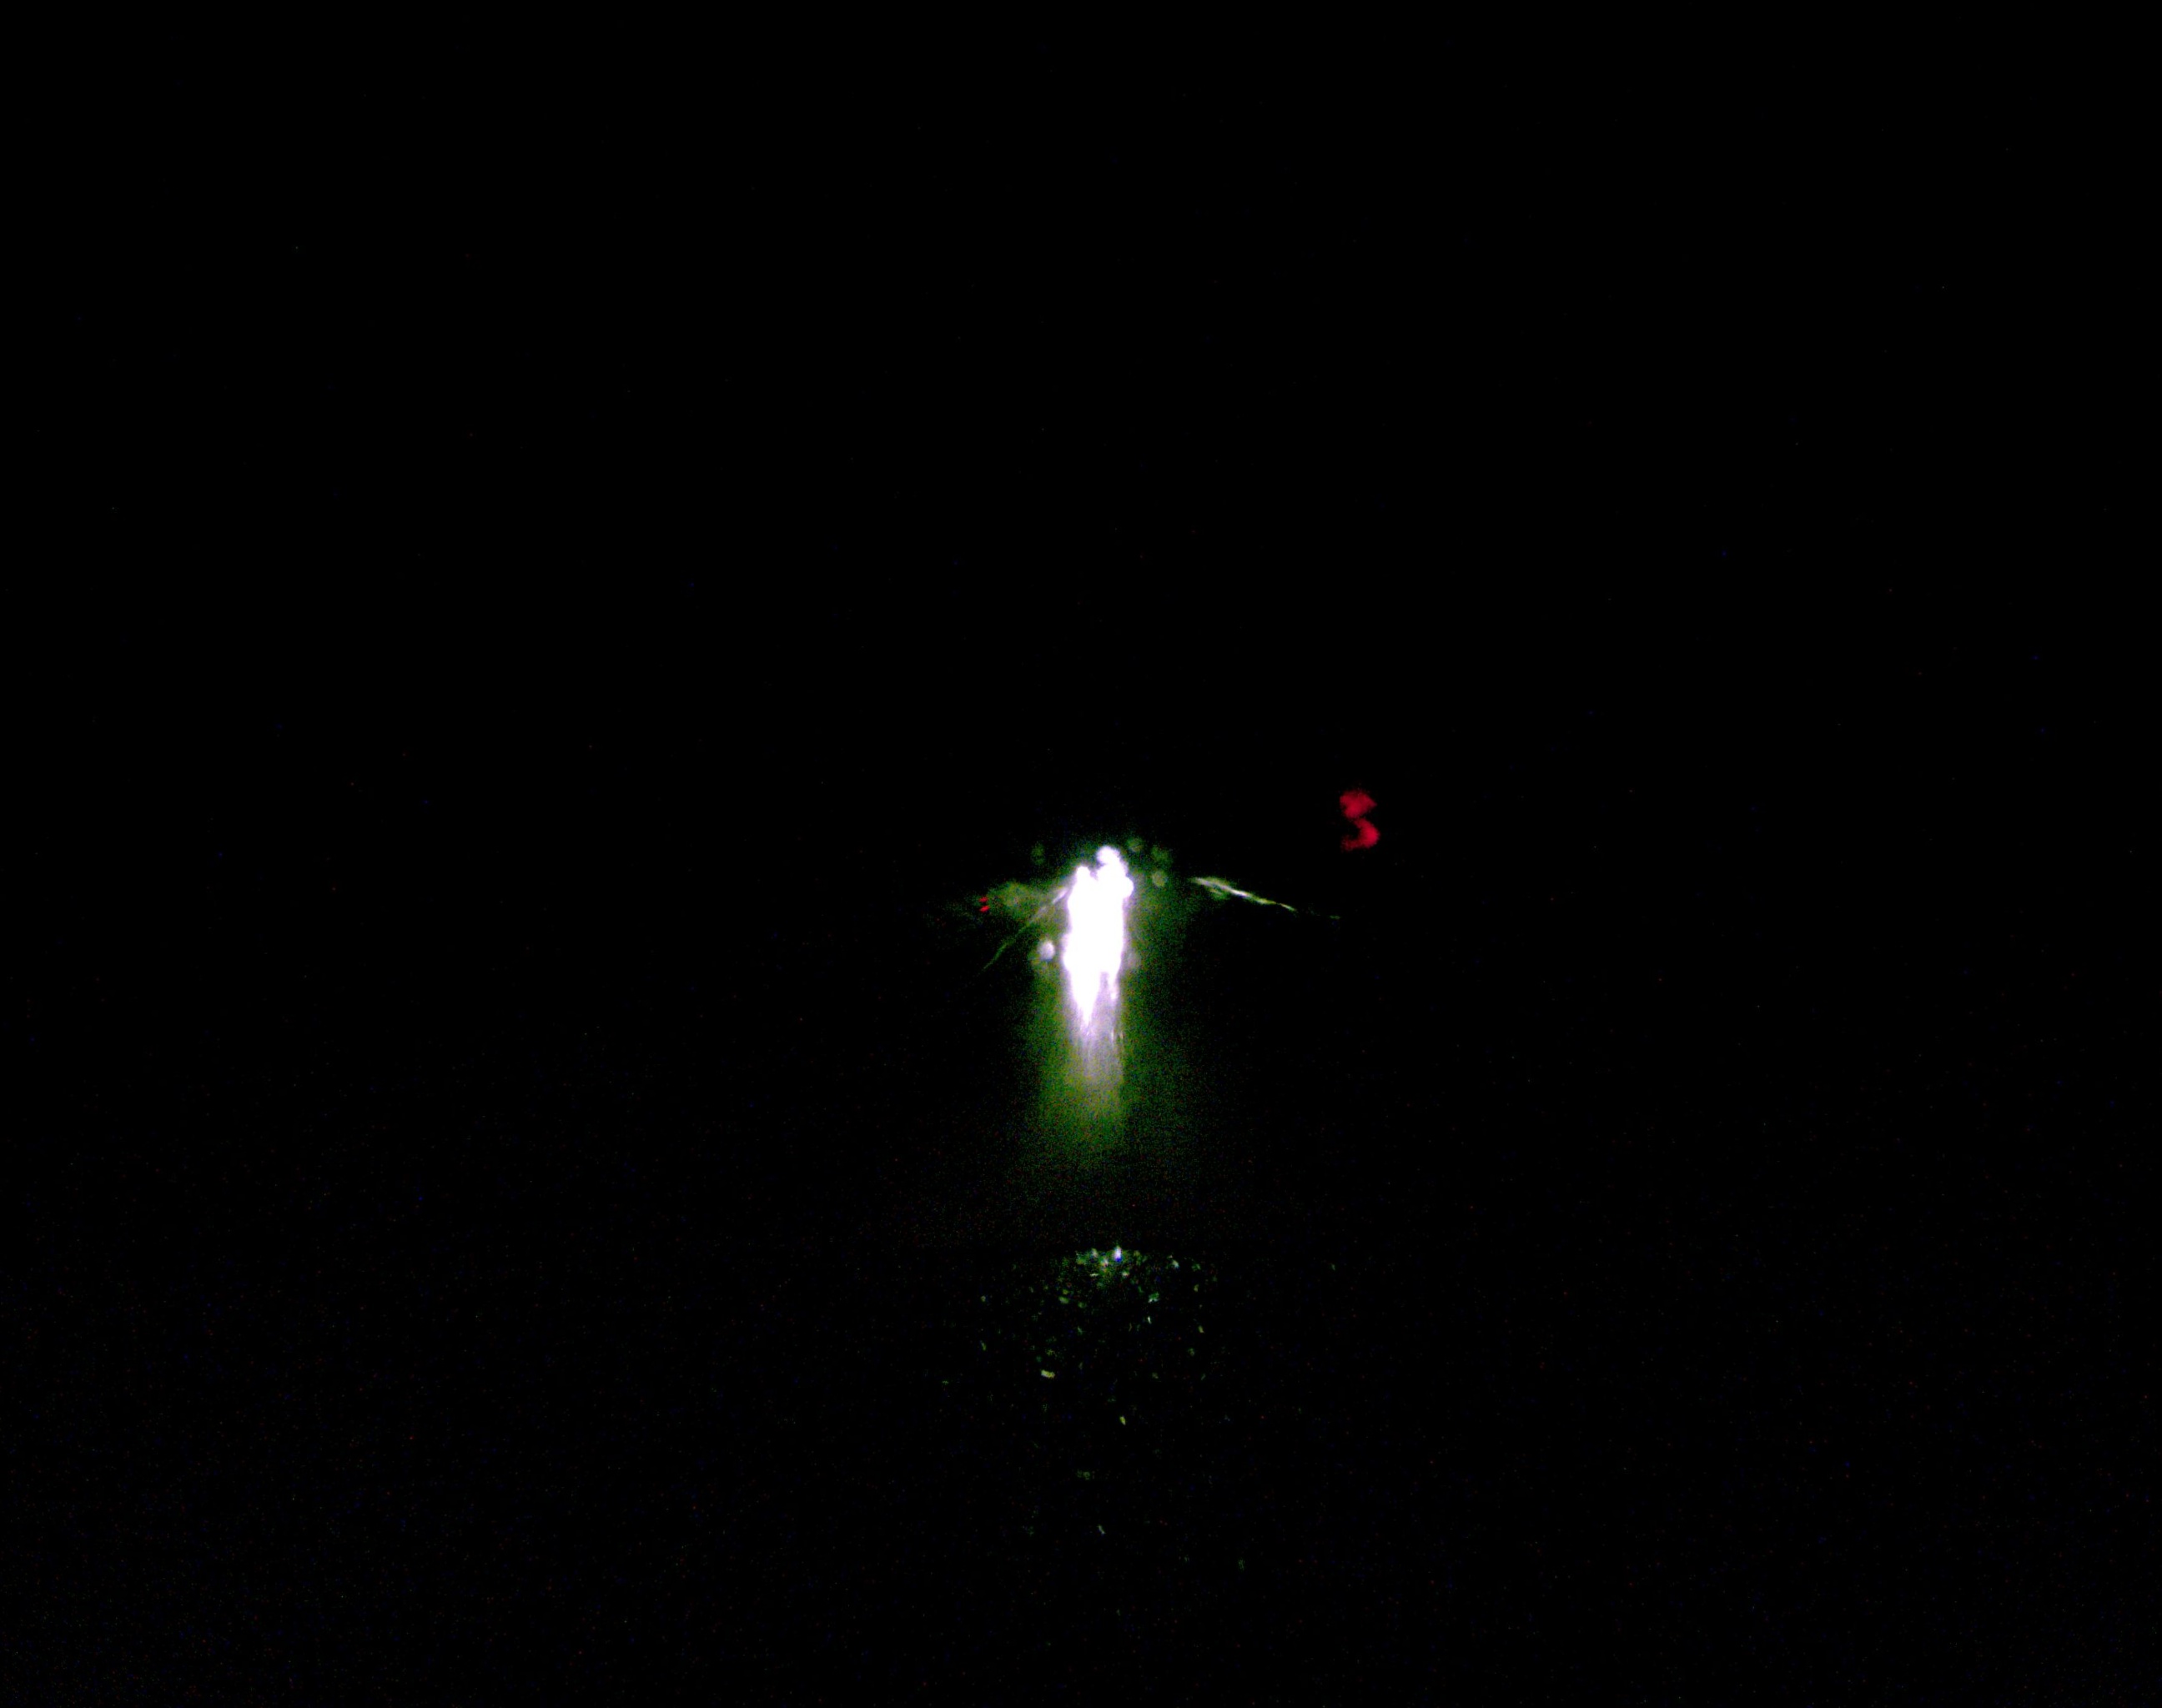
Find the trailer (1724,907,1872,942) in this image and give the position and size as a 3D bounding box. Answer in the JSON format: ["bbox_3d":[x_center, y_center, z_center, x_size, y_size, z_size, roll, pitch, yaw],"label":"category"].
[{"bbox_3d":[25.036,2.446,26.691,1.773,1.071,3.377,0,-3,-7],"label":"trailer"}]

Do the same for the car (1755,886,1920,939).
[{"bbox_3d":[28.270,2.129,28.588,1.975,1.819,3.999,0,-2,-7],"label":"car"}]

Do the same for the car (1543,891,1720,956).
[{"bbox_3d":[17.119,2.077,23.861,1.978,1.819,3.994,0,-3,-24],"label":"car"}]

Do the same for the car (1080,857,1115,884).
[{"bbox_3d":[0.986,0.982,47.152,1.998,1.412,3.999,-3,1,0],"label":"car"}]
